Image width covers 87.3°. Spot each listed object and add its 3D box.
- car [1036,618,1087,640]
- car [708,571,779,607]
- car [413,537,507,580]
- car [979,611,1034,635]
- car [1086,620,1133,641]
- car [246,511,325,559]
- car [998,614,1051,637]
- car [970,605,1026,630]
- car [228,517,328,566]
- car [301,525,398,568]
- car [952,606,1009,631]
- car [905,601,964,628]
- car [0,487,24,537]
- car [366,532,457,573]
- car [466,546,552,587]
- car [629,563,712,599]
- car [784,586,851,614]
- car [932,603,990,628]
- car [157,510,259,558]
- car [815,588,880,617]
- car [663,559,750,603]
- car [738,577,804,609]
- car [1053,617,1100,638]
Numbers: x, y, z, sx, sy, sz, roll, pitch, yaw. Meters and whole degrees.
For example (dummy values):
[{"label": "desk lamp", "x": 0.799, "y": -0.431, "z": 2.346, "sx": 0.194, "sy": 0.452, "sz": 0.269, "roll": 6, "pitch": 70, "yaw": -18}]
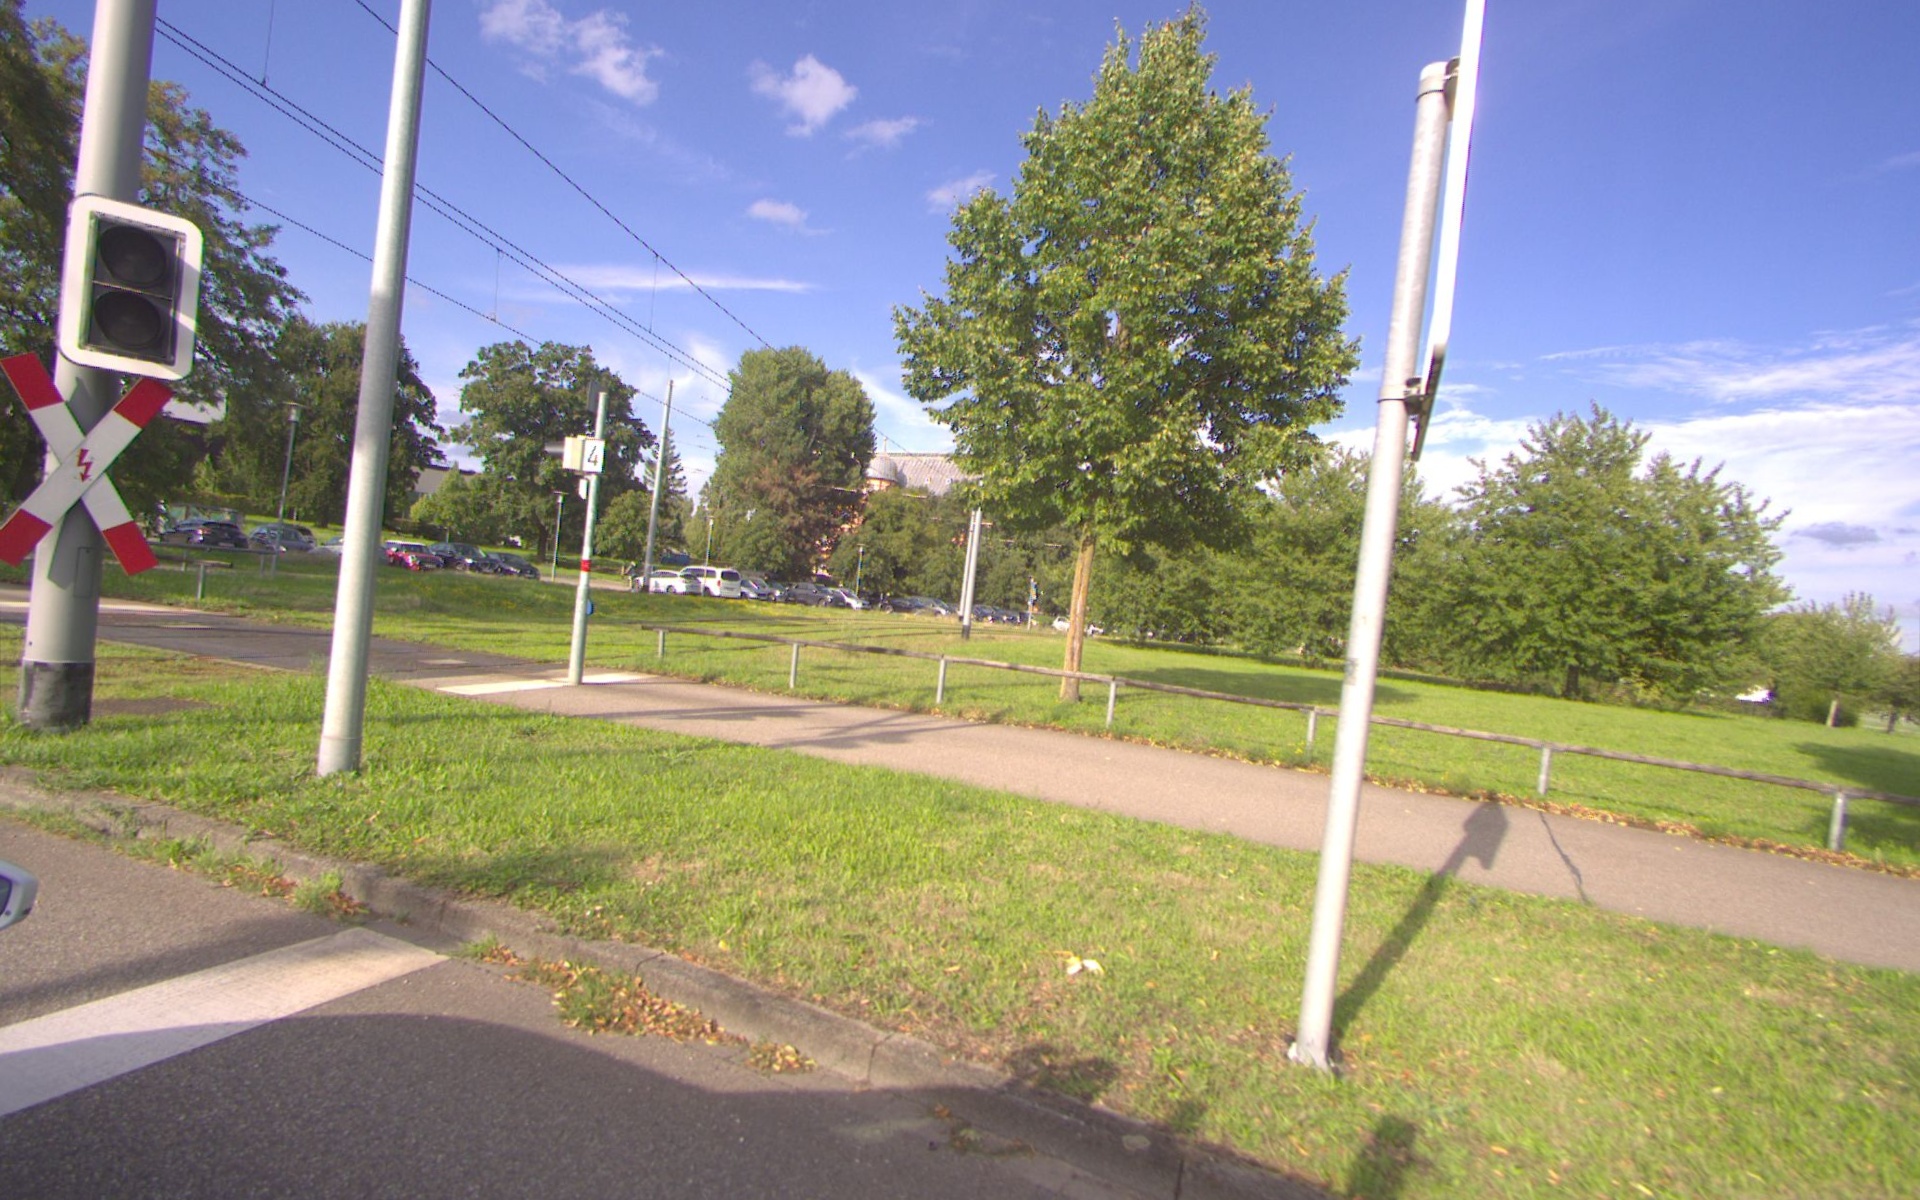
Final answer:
[{"label": "car", "x": 9.674, "y": 2.754, "z": 95.921, "sx": 4.401, "sy": 1.494, "sz": 1.793, "roll": 6, "pitch": 0, "yaw": 37}, {"label": "car", "x": -13.346, "y": -0.705, "z": 61.824, "sx": 4.411, "sy": 1.695, "sz": 2.090, "roll": 7, "pitch": 0, "yaw": 45}, {"label": "car", "x": -23.392, "y": -1.951, "z": 46.981, "sx": 4.869, "sy": 1.534, "sz": 1.854, "roll": 6, "pitch": 0, "yaw": 37}, {"label": "car", "x": 4.048, "y": 1.992, "z": 87.809, "sx": 4.405, "sy": 1.560, "sz": 1.851, "roll": 6, "pitch": 0, "yaw": 40}, {"label": "car", "x": 15.233, "y": 3.107, "z": 102.605, "sx": 1.847, "sy": 1.560, "sz": 4.415, "roll": 6, "pitch": 0, "yaw": -43}, {"label": "car", "x": -34.576, "y": -3.345, "z": 51.535, "sx": 4.741, "sy": 2.037, "sz": 1.871, "roll": 5, "pitch": -2, "yaw": 39}, {"label": "car", "x": 5.761, "y": 2.294, "z": 89.966, "sx": 4.405, "sy": 1.560, "sz": 1.851, "roll": 6, "pitch": 0, "yaw": 40}, {"label": "car", "x": 3.224, "y": 1.485, "z": 85.581, "sx": 4.405, "sy": 1.560, "sz": 1.851, "roll": 6, "pitch": 0, "yaw": 40}, {"label": "car", "x": -27.694, "y": -2.393, "z": 40.790, "sx": 4.675, "sy": 1.534, "sz": 1.854, "roll": 6, "pitch": 0, "yaw": 37}, {"label": "car", "x": -26.340, "y": -2.331, "z": 43.349, "sx": 4.760, "sy": 1.375, "sz": 1.854, "roll": 6, "pitch": 0, "yaw": 37}, {"label": "car", "x": 1.703, "y": 1.509, "z": 83.239, "sx": 4.405, "sy": 1.560, "sz": 1.851, "roll": 6, "pitch": 0, "yaw": 40}, {"label": "car", "x": -1.989, "y": 1.103, "z": 77.848, "sx": 4.405, "sy": 1.560, "sz": 1.851, "roll": 6, "pitch": 0, "yaw": 40}, {"label": "car", "x": -32.733, "y": -3.083, "z": 33.181, "sx": 4.661, "sy": 1.534, "sz": 1.854, "roll": 6, "pitch": 0, "yaw": 37}, {"label": "car", "x": -24.765, "y": -2.137, "z": 45.351, "sx": 4.401, "sy": 1.380, "sz": 1.854, "roll": 6, "pitch": 0, "yaw": 37}, {"label": "car", "x": -22.094, "y": -1.673, "z": 49.237, "sx": 4.401, "sy": 1.534, "sz": 1.854, "roll": 6, "pitch": 0, "yaw": 37}, {"label": "car", "x": -16.354, "y": -1.085, "z": 56.784, "sx": 4.393, "sy": 1.534, "sz": 1.858, "roll": 6, "pitch": 0, "yaw": 29}, {"label": "car", "x": -9.546, "y": -0.005, "z": 67.205, "sx": 4.405, "sy": 1.416, "sz": 1.852, "roll": 6, "pitch": 0, "yaw": 40}, {"label": "car", "x": 0.059, "y": 1.265, "z": 81.191, "sx": 4.405, "sy": 1.472, "sz": 1.851, "roll": 6, "pitch": 0, "yaw": 40}, {"label": "car", "x": -29.003, "y": -2.557, "z": 38.765, "sx": 4.661, "sy": 1.376, "sz": 1.854, "roll": 6, "pitch": 0, "yaw": 37}, {"label": "car", "x": -7.783, "y": 0.173, "z": 69.289, "sx": 4.405, "sy": 1.523, "sz": 1.852, "roll": 6, "pitch": 0, "yaw": 40}, {"label": "car", "x": -14.952, "y": -1.145, "z": 59.208, "sx": 5.039, "sy": 2.032, "sz": 2.306, "roll": 7, "pitch": 1, "yaw": 40}, {"label": "car", "x": -11.957, "y": -0.450, "z": 63.529, "sx": 4.059, "sy": 1.534, "sz": 2.024, "roll": 7, "pitch": 0, "yaw": 45}, {"label": "car", "x": 11.416, "y": 2.715, "z": 98.707, "sx": 1.847, "sy": 1.560, "sz": 4.415, "roll": 6, "pitch": 0, "yaw": -43}]
